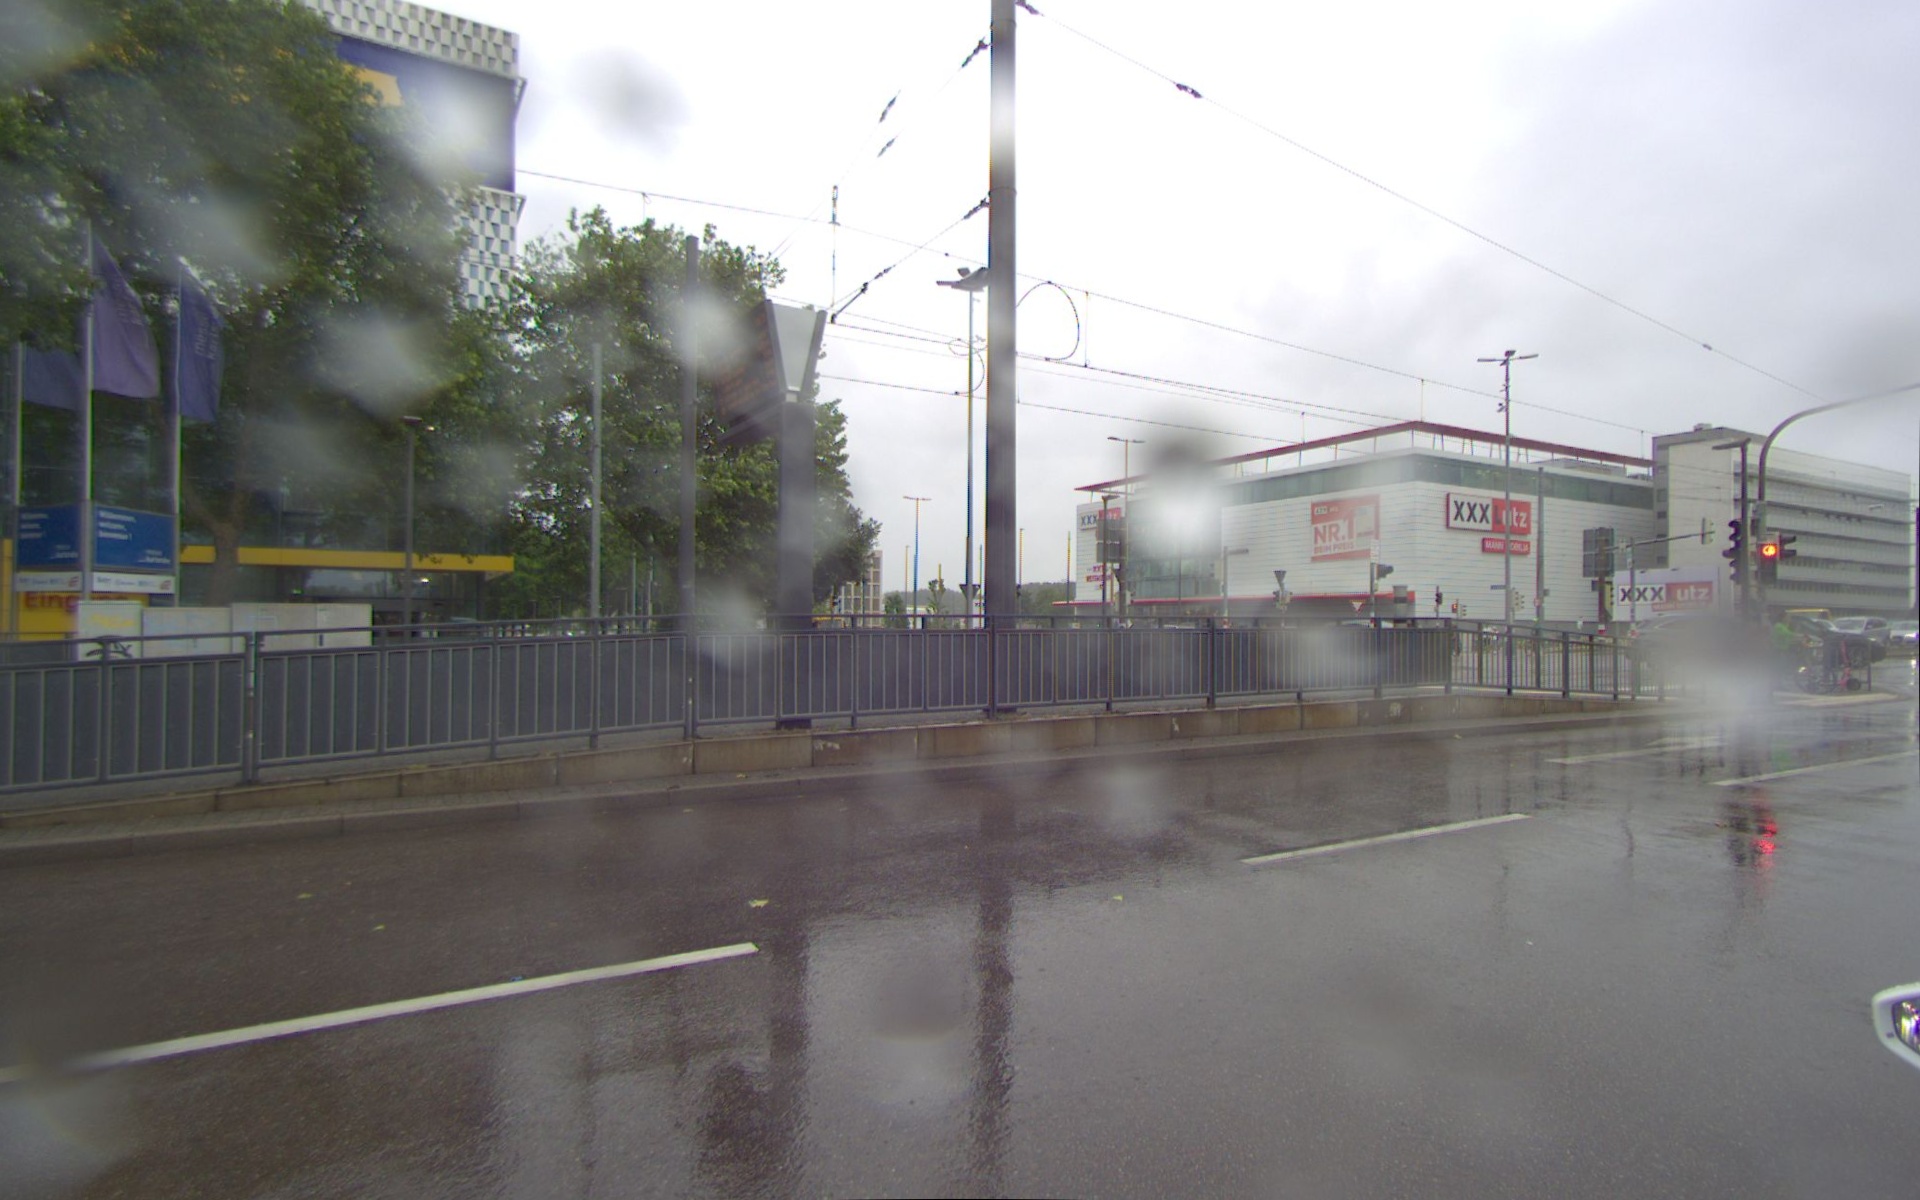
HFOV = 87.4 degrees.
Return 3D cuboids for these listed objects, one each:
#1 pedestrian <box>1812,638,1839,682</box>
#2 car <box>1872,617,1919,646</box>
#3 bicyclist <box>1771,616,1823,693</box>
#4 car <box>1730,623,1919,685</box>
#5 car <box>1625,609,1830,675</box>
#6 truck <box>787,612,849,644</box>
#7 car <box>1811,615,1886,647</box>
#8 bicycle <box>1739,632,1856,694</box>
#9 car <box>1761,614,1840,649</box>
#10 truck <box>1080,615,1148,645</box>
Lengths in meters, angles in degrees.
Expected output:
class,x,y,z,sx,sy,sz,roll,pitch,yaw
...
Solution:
class,x,y,z,sx,sy,sz,roll,pitch,yaw
pedestrian,18.582,1.291,21.573,0.376,0.909,0.313,1,2,-32
car,51.063,1.709,54.324,3.527,1.445,1.552,2,1,-30
bicyclist,16.971,1.095,20.374,0.593,1.511,0.600,2,1,20
car,26.502,1.601,30.723,1.703,1.521,4.449,2,1,-44
car,21.575,1.132,28.393,4.440,1.521,1.706,3,1,39
truck,-11.887,2.295,83.401,2.445,2.240,7.329,2,1,-31
car,44.885,1.566,50.729,3.765,1.445,1.702,2,1,-30
bicycle,16.963,1.267,20.388,1.724,1.153,0.520,2,1,18
car,39.906,1.496,47.676,3.765,1.445,1.702,2,1,-30
truck,12.030,2.302,79.010,1.990,1.968,5.847,2,1,-31
